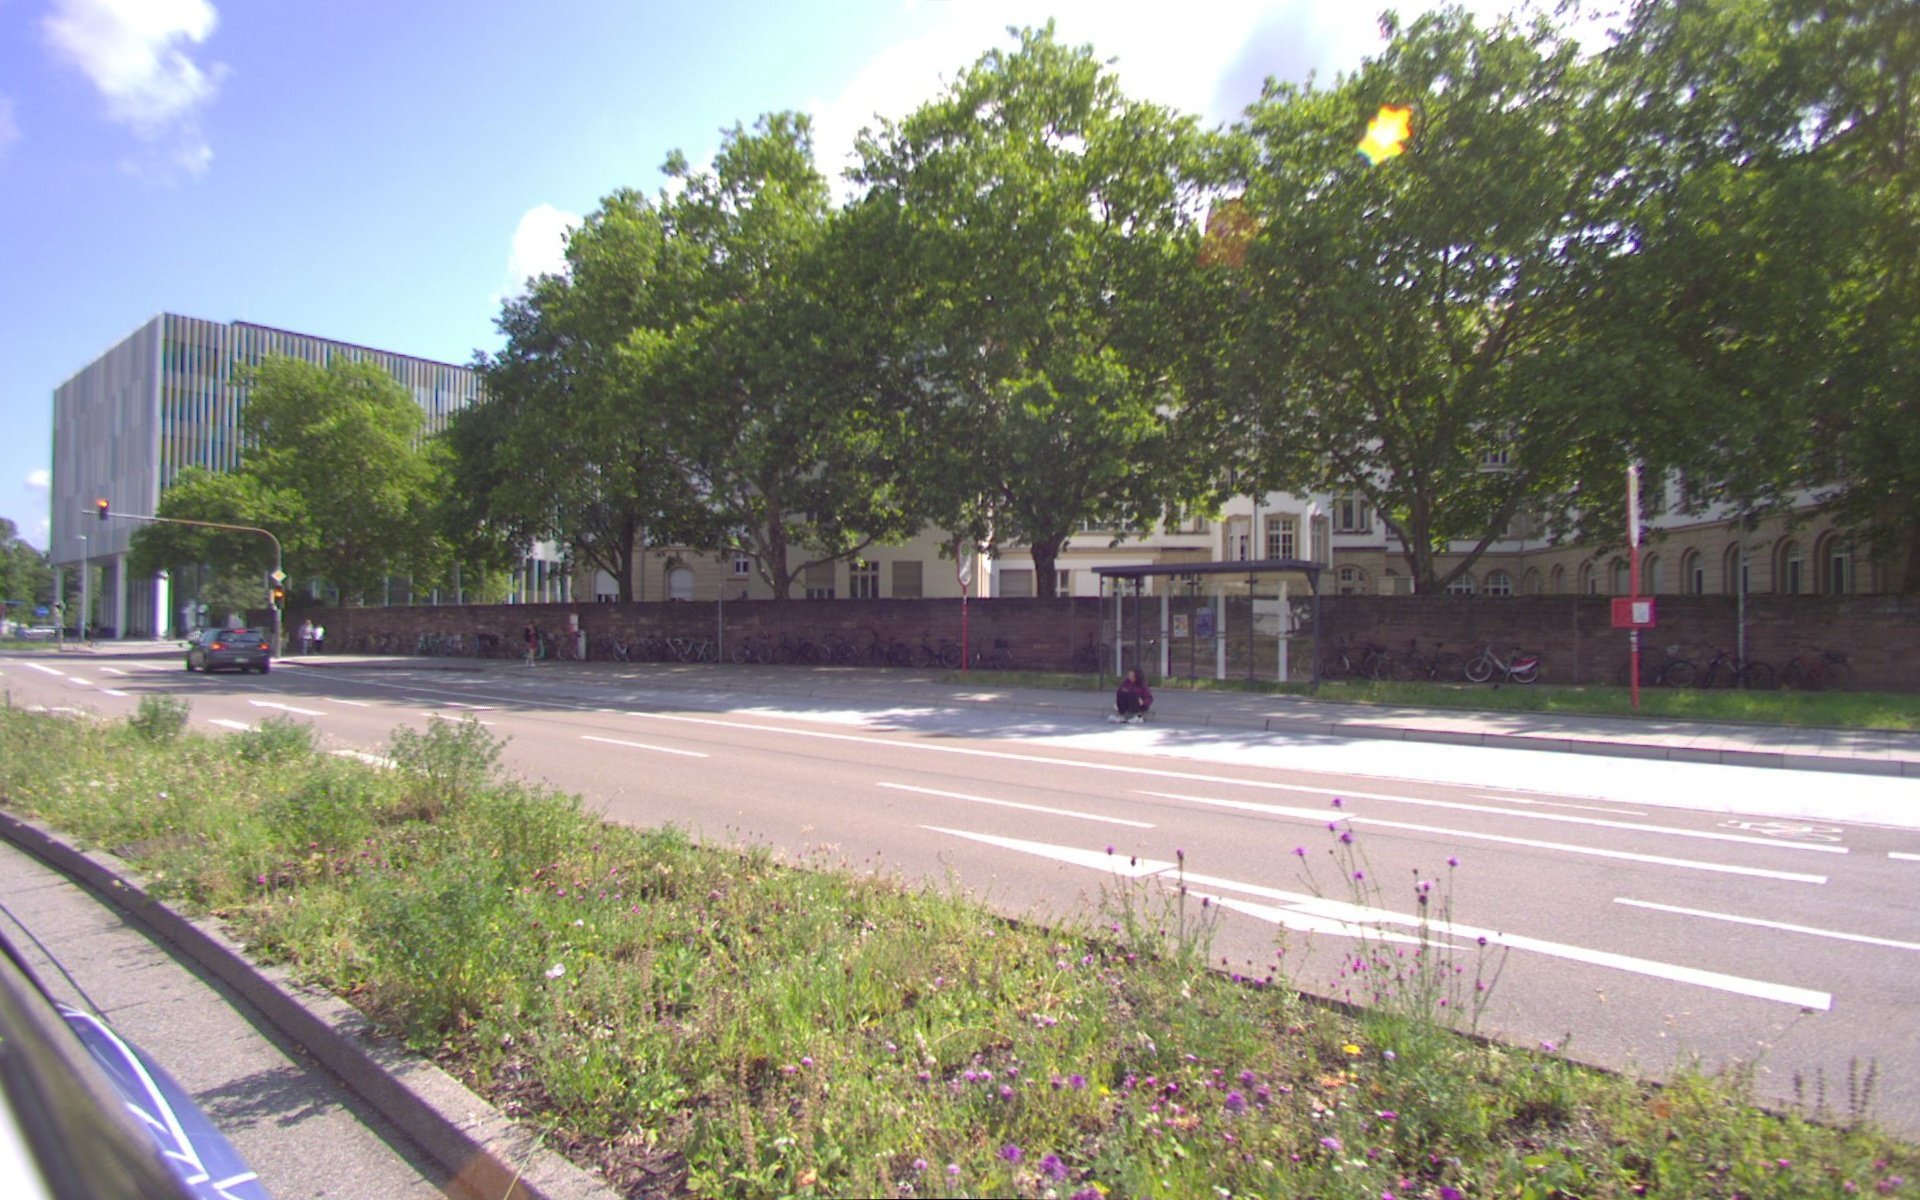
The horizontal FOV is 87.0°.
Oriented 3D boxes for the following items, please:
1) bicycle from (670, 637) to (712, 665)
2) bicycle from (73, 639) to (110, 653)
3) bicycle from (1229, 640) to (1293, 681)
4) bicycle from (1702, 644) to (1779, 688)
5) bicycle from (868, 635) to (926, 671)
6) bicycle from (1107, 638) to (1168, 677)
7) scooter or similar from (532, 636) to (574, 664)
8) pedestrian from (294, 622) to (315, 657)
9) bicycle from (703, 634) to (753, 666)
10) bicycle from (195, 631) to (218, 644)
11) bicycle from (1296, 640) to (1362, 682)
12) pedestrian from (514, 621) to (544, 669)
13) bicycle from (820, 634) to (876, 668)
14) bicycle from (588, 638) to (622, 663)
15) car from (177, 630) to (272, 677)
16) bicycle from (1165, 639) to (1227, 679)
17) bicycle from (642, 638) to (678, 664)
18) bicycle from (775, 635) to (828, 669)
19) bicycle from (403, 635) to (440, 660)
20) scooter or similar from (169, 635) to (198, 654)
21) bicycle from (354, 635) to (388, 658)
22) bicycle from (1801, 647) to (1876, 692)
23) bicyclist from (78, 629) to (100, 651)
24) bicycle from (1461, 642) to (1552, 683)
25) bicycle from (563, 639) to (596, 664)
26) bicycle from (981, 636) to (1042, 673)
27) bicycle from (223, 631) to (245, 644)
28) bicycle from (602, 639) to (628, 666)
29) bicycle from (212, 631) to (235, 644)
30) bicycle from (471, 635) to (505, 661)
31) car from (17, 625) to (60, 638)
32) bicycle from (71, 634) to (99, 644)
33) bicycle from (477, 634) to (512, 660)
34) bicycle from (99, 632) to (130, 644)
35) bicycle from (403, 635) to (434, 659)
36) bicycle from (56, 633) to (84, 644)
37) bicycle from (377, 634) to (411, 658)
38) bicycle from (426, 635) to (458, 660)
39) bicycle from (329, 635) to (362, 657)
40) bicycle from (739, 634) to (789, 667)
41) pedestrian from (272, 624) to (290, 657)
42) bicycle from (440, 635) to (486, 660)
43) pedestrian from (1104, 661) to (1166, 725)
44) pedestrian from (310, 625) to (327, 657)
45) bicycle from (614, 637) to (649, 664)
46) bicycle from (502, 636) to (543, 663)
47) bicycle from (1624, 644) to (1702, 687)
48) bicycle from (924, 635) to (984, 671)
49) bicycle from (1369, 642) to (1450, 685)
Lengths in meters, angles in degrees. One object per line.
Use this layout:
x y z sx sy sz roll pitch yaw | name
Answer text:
-9.585 1.798 35.985 1.619 0.962 0.368 -1 -2 27 | bicycle
-58.204 3.075 67.833 1.745 0.899 0.640 0 -2 -16 | bicycle
8.183 1.624 27.534 1.620 1.081 0.580 -1 -2 21 | bicycle
18.594 1.573 24.134 1.361 1.019 0.389 -1 -2 22 | bicycle
-1.987 1.659 31.820 1.743 1.081 0.580 -1 -2 21 | bicycle
5.050 1.635 28.809 1.620 1.081 0.580 -1 -2 21 | bicycle
-16.082 1.959 39.957 1.876 1.056 0.575 -1 -2 33 | scooter or similar
-31.795 1.921 49.101 0.730 1.664 0.635 -2 -2 37 | pedestrian
-8.020 1.718 34.941 1.747 1.081 0.579 -1 -2 27 | bicycle
-64.742 3.217 86.987 0.711 1.105 2.223 0 -2 -11 | bicycle
9.819 1.613 26.949 1.620 1.081 0.580 -1 -2 21 | bicycle
-14.895 1.540 34.989 0.743 1.622 0.650 -1 -1 35 | pedestrian
-3.620 1.646 32.707 1.746 1.081 0.579 -1 -2 26 | bicycle
-13.471 1.908 38.350 1.395 0.962 0.364 -1 -2 27 | bicycle
-24.323 1.734 33.419 4.145 1.456 1.682 -2 -4 42 | car
6.580 1.628 28.182 1.620 1.081 0.580 -1 -2 21 | bicycle
-10.944 1.850 36.863 1.395 0.962 0.364 -1 -2 27 | bicycle
-5.267 1.721 33.548 1.747 1.081 0.579 -1 -2 27 | bicycle
-23.491 2.060 44.154 1.876 1.056 0.587 -1 -2 33 | bicycle
-50.615 2.894 65.987 0.499 1.166 1.495 -1 -2 15 | scooter or similar
-27.813 2.167 47.777 1.876 1.056 0.625 -1 -2 33 | bicycle
20.458 1.607 23.585 1.246 1.019 0.351 -1 -2 22 | bicycle
-58.355 2.690 67.808 0.931 1.475 0.633 0 -2 -16 | bicyclist
13.798 1.570 25.597 1.951 1.019 0.469 -1 -2 22 | bicycle
-14.686 1.983 39.053 1.395 0.962 0.364 -1 -2 27 | bicycle
1.539 1.622 30.301 1.743 1.081 0.580 -1 -2 21 | bicycle
-62.336 3.222 86.898 0.711 1.105 2.223 0 -2 -11 | bicycle
-12.639 1.910 37.095 0.361 0.962 1.628 1 -2 -38 | bicycle
-63.132 3.214 86.748 0.711 1.105 2.223 0 -2 -11 | bicycle
-19.466 1.974 41.727 1.876 1.056 0.369 -1 -2 33 | bicycle
-118.321 4.035 129.976 1.645 1.699 3.945 -2 -3 41 | car
-93.440 4.147 108.063 0.721 1.105 2.192 -2 -2 34 | bicycle
-19.392 1.945 42.130 1.876 1.056 0.390 -1 -2 33 | bicycle
-84.007 3.768 100.565 0.721 1.105 2.192 -2 -2 34 | bicycle
-24.287 2.110 45.364 1.876 1.056 0.367 -1 -2 33 | bicycle
-96.107 4.139 109.308 0.721 1.105 2.192 -2 -2 34 | bicycle
-26.005 2.102 46.453 1.876 1.056 0.559 -1 -2 33 | bicycle
-22.663 2.068 44.284 1.876 1.056 0.367 -1 -2 33 | bicycle
-29.750 2.220 48.970 1.876 1.056 0.625 -1 -2 33 | bicycle
-6.635 1.703 34.252 1.645 1.084 0.625 -1 -2 27 | bicycle
-34.612 2.042 51.576 0.726 1.664 0.555 -2 -2 37 | pedestrian
-21.172 2.028 43.105 1.865 1.056 0.590 -1 -2 18 | bicycle
2.877 1.516 16.643 0.742 0.970 0.687 -2 -2 41 | pedestrian
-31.544 2.026 49.761 0.615 1.551 0.471 -2 -2 37 | pedestrian
-12.227 1.871 37.655 1.395 0.962 0.364 -1 -2 27 | bicycle
-17.719 2.007 40.986 1.876 1.056 0.575 -1 -2 33 | bicycle
17.040 1.570 24.557 1.446 1.019 0.469 -1 -2 22 | bicycle
-0.176 1.625 30.988 1.743 1.081 0.580 -1 -2 21 | bicycle
11.629 1.623 26.210 1.860 1.081 0.579 -1 -2 26 | bicycle
